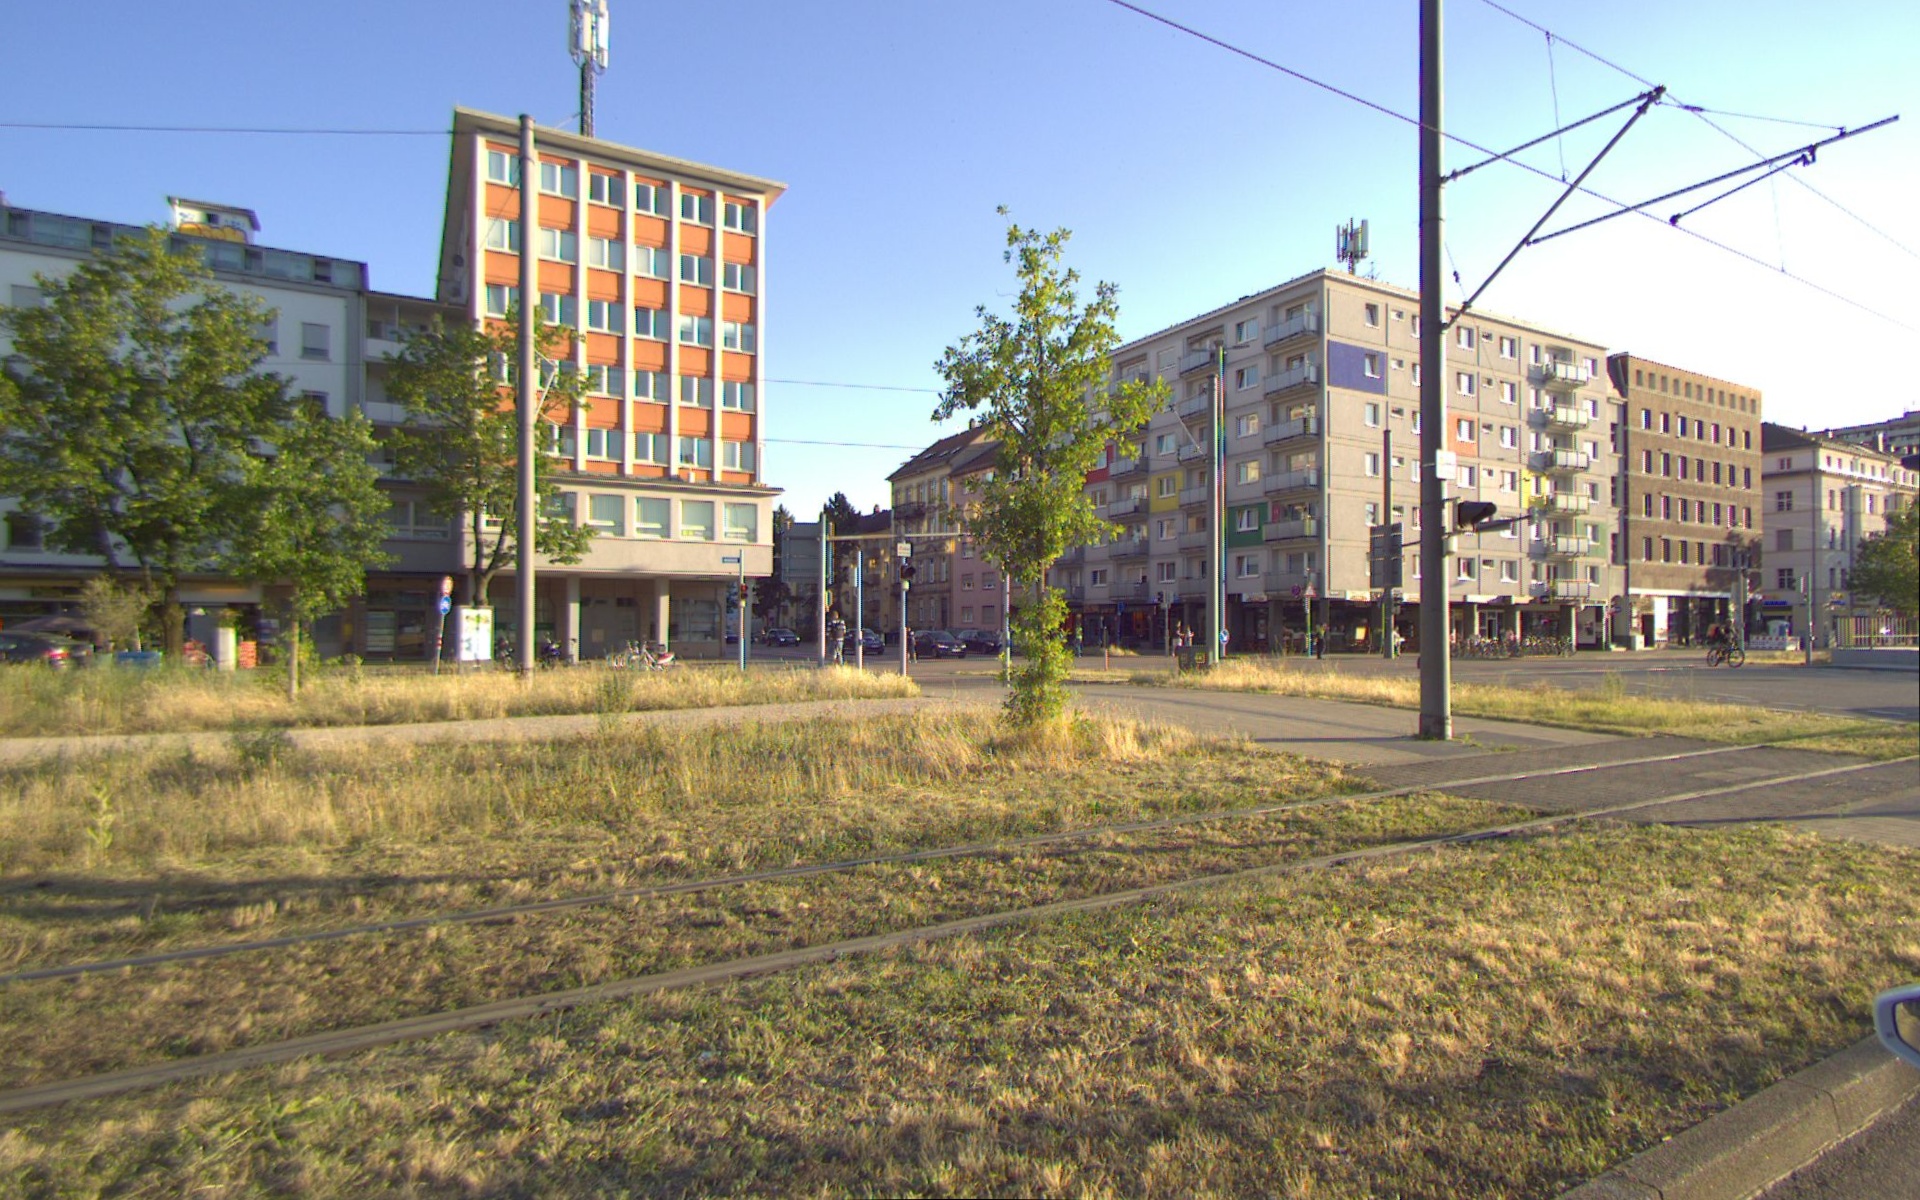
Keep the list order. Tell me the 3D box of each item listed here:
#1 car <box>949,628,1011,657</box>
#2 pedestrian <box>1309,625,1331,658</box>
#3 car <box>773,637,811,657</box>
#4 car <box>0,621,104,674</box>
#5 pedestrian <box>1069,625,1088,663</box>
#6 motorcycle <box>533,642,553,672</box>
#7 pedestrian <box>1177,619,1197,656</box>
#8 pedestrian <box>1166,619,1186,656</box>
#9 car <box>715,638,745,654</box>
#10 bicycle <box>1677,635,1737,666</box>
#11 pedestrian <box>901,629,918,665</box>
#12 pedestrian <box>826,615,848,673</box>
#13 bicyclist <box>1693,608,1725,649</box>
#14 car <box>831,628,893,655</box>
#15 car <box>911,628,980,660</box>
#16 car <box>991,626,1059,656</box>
[{"bbox_3d":[1.179,2.508,59.940,1.785,1.606,3.840,-1,-1,-35],"label":"car"},{"bbox_3d":[18.770,2.140,52.397,0.768,1.692,0.740,-1,-1,-9],"label":"pedestrian"},{"bbox_3d":[-13.897,3.855,82.955,1.803,1.572,3.969,-1,-1,-30],"label":"car"},{"bbox_3d":[-28.971,1.444,30.508,4.213,1.547,1.758,-1,-1,-8],"label":"car"},{"bbox_3d":[5.987,2.226,50.790,0.673,1.872,0.630,-1,-1,-30],"label":"pedestrian"},{"bbox_3d":[-16.195,2.208,39.020,0.525,1.082,1.443,-1,-1,-31],"label":"motorcycle"},{"bbox_3d":[11.687,1.904,51.723,0.812,1.872,0.599,-1,-1,-30],"label":"pedestrian"},{"bbox_3d":[11.297,1.951,52.503,0.728,1.876,0.701,-1,-1,-30],"label":"pedestrian"},{"bbox_3d":[-22.994,4.576,100.319,1.803,1.572,3.969,-1,-1,-30],"label":"car"},{"bbox_3d":[27.109,1.816,36.464,1.708,0.983,0.700,2,3,42],"label":"bicycle"},{"bbox_3d":[-2.312,2.139,45.960,0.608,1.651,0.512,-1,-1,-30],"label":"pedestrian"},{"bbox_3d":[-3.843,1.361,31.378,0.638,1.786,0.721,-1,-1,-9],"label":"pedestrian"},{"bbox_3d":[27.153,1.029,36.421,0.844,1.462,0.659,1,2,42],"label":"bicyclist"},{"bbox_3d":[-6.141,2.565,62.448,1.969,1.606,4.252,-1,-1,-35],"label":"car"},{"bbox_3d":[-0.802,2.300,52.750,1.785,1.606,3.840,-1,-2,-35],"label":"car"},{"bbox_3d":[3.582,2.267,56.153,1.785,1.606,3.840,-1,-1,-35],"label":"car"}]
